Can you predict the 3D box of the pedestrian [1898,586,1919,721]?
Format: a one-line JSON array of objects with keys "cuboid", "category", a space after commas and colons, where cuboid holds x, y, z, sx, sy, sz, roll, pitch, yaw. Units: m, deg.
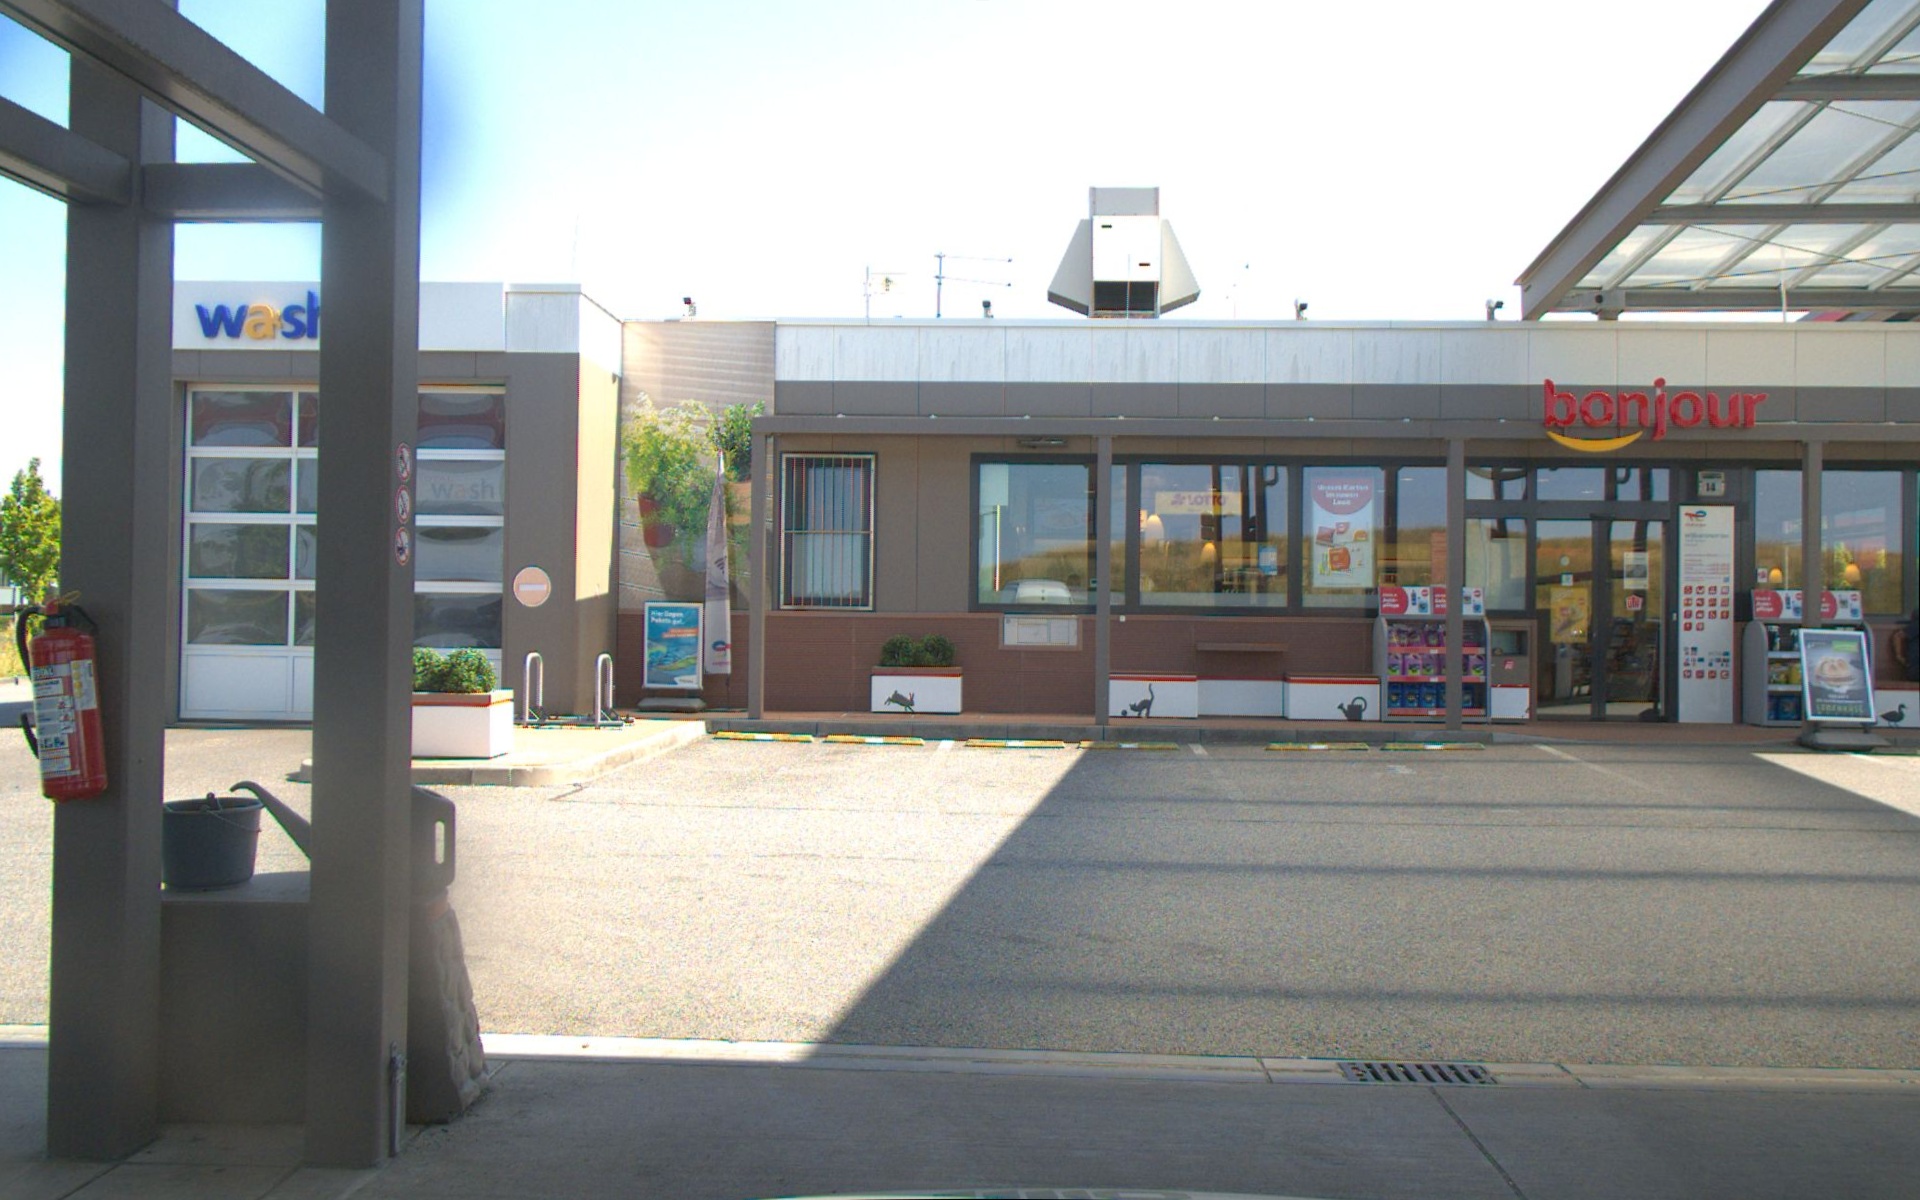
[{"cuboid": [10.637, 0.575, 17.834, 0.686, 1.457, 0.673, 0, 0, 2], "category": "pedestrian"}]
